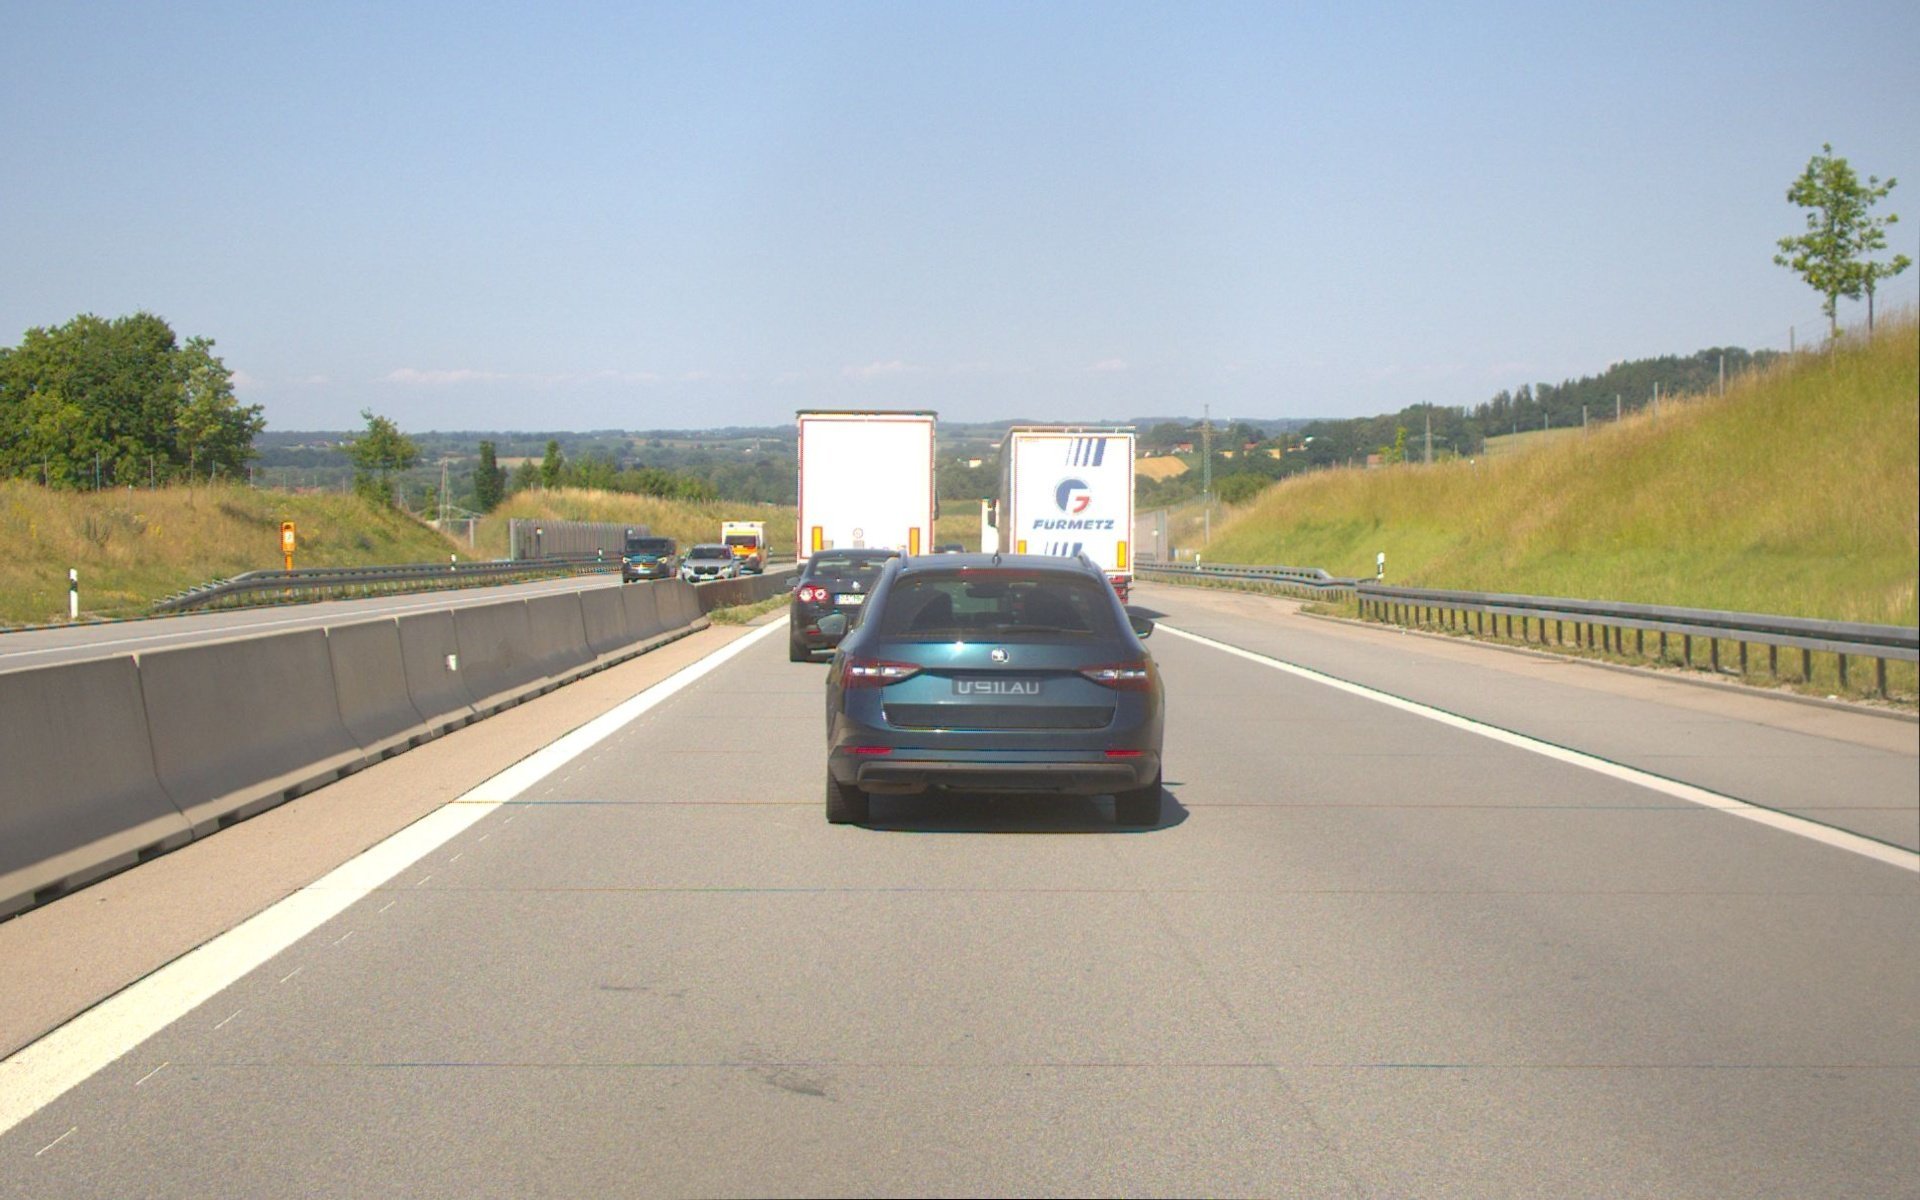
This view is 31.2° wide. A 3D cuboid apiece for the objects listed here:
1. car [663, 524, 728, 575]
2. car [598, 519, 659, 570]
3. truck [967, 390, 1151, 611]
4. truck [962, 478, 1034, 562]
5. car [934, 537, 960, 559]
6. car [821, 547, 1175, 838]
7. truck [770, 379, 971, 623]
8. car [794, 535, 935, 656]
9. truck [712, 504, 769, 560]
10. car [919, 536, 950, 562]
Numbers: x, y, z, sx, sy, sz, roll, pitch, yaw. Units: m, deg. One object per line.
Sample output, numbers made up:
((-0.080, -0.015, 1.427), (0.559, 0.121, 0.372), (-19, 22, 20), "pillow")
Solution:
((-9.225, -1.766, 120.048), (1.931, 1.726, 4.886), (1, 1, -1), "car")
((-13.257, -2.236, 137.780), (1.993, 2.007, 4.970), (1, 1, -1), "car")
((2.174, -2.149, 75.718), (3.604, 4.366, 11.233), (-2, 1, 2), "truck")
((2.155, -4.378, 188.452), (3.604, 4.366, 11.233), (-2, 1, 2), "truck")
((-0.878, -3.543, 232.427), (1.700, 1.436, 4.000), (0, 1, 0), "car")
((0.120, 0.438, 19.178), (1.776, 1.436, 3.789), (0, 1, -2), "car")
((-1.639, -1.947, 69.002), (3.211, 4.366, 11.233), (-2, 1, 2), "truck")
((-1.260, -0.096, 44.754), (1.700, 1.436, 4.001), (-2, 1, -2), "car")
((-11.951, -3.722, 187.778), (2.774, 3.011, 6.793), (0, 1, -1), "truck")
((-1.446, -2.906, 194.739), (1.700, 1.436, 4.000), (0, 1, 0), "car")
